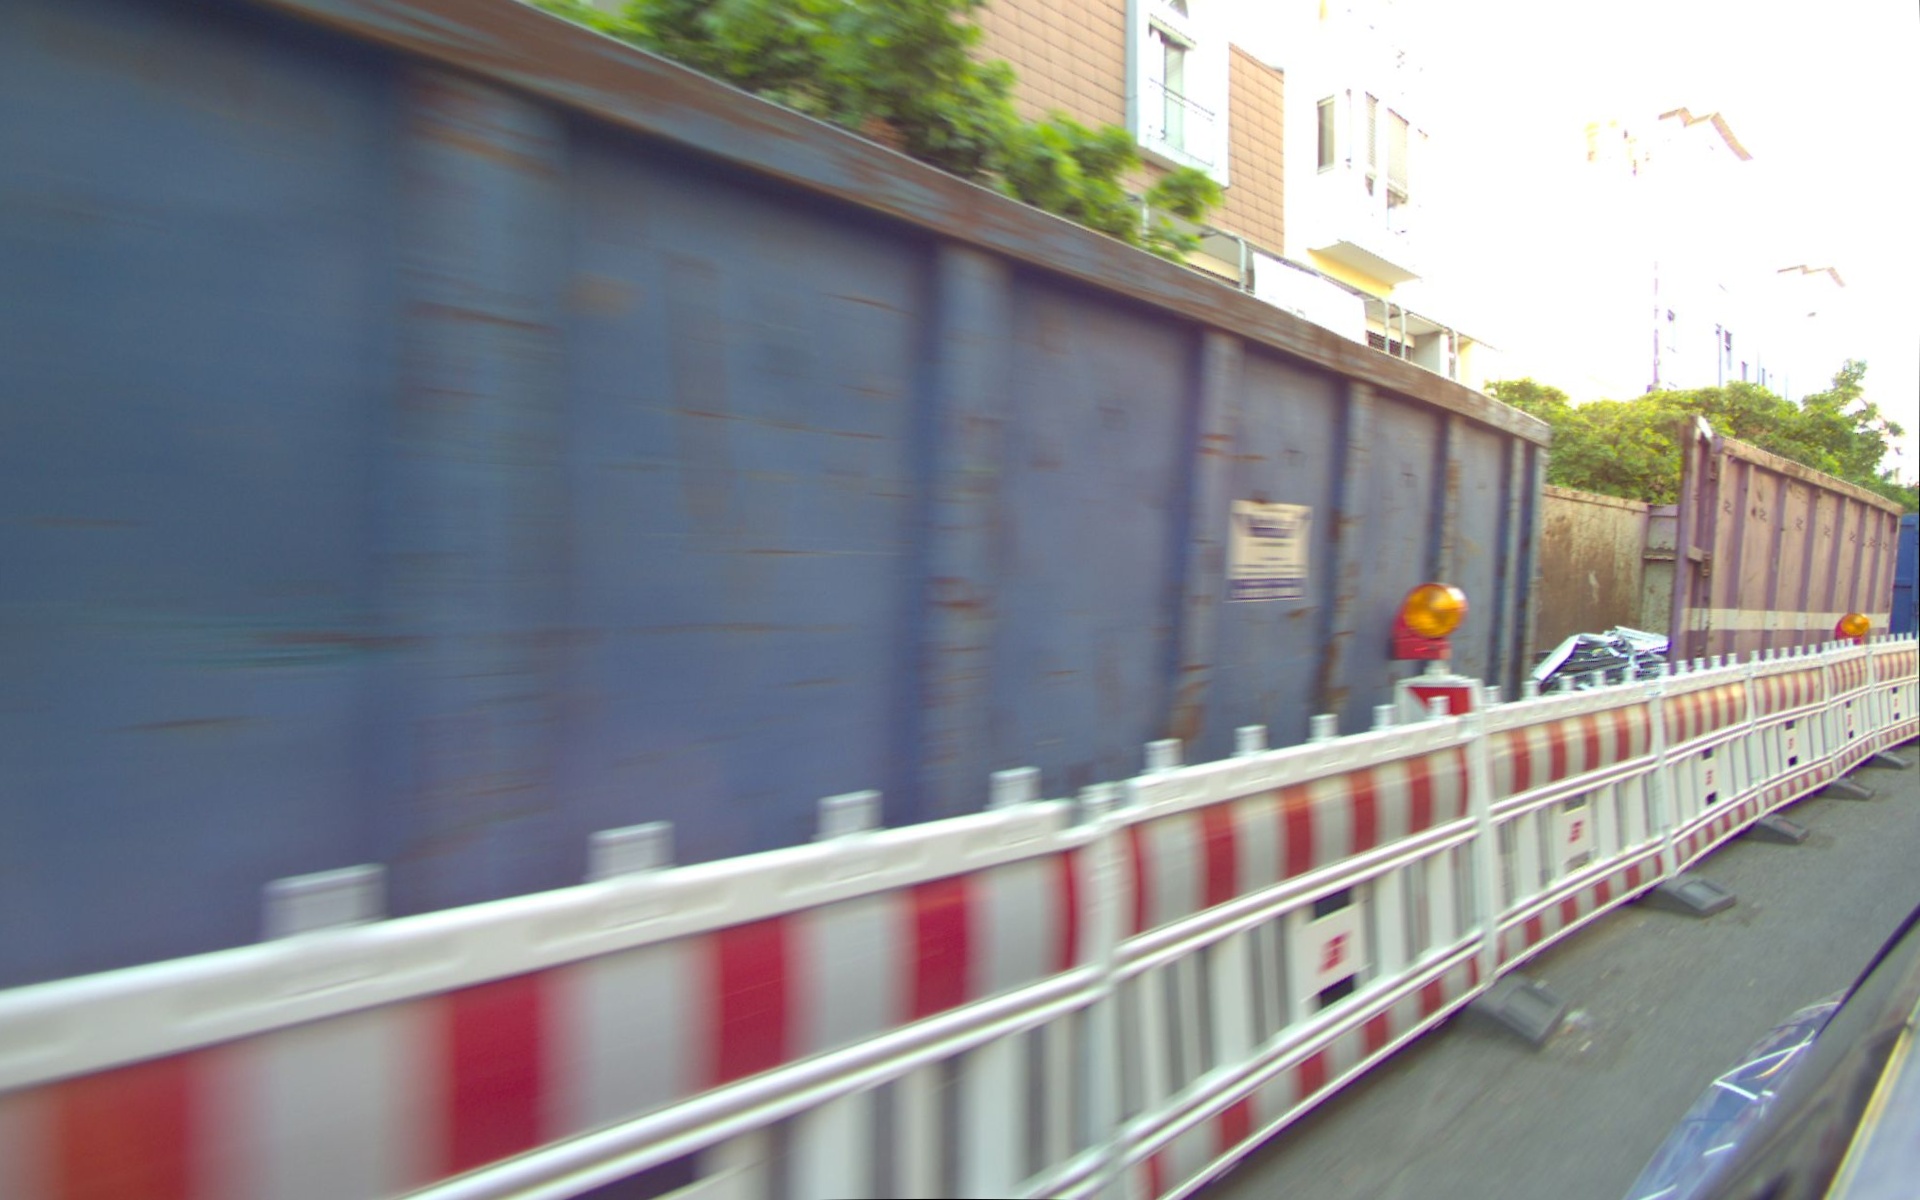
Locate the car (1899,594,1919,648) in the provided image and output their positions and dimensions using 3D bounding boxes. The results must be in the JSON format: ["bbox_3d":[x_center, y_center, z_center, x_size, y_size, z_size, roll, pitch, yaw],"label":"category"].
[{"bbox_3d":[28.107,0.564,28.681,3.993,1.465,1.638,0,0,-39],"label":"car"}]
